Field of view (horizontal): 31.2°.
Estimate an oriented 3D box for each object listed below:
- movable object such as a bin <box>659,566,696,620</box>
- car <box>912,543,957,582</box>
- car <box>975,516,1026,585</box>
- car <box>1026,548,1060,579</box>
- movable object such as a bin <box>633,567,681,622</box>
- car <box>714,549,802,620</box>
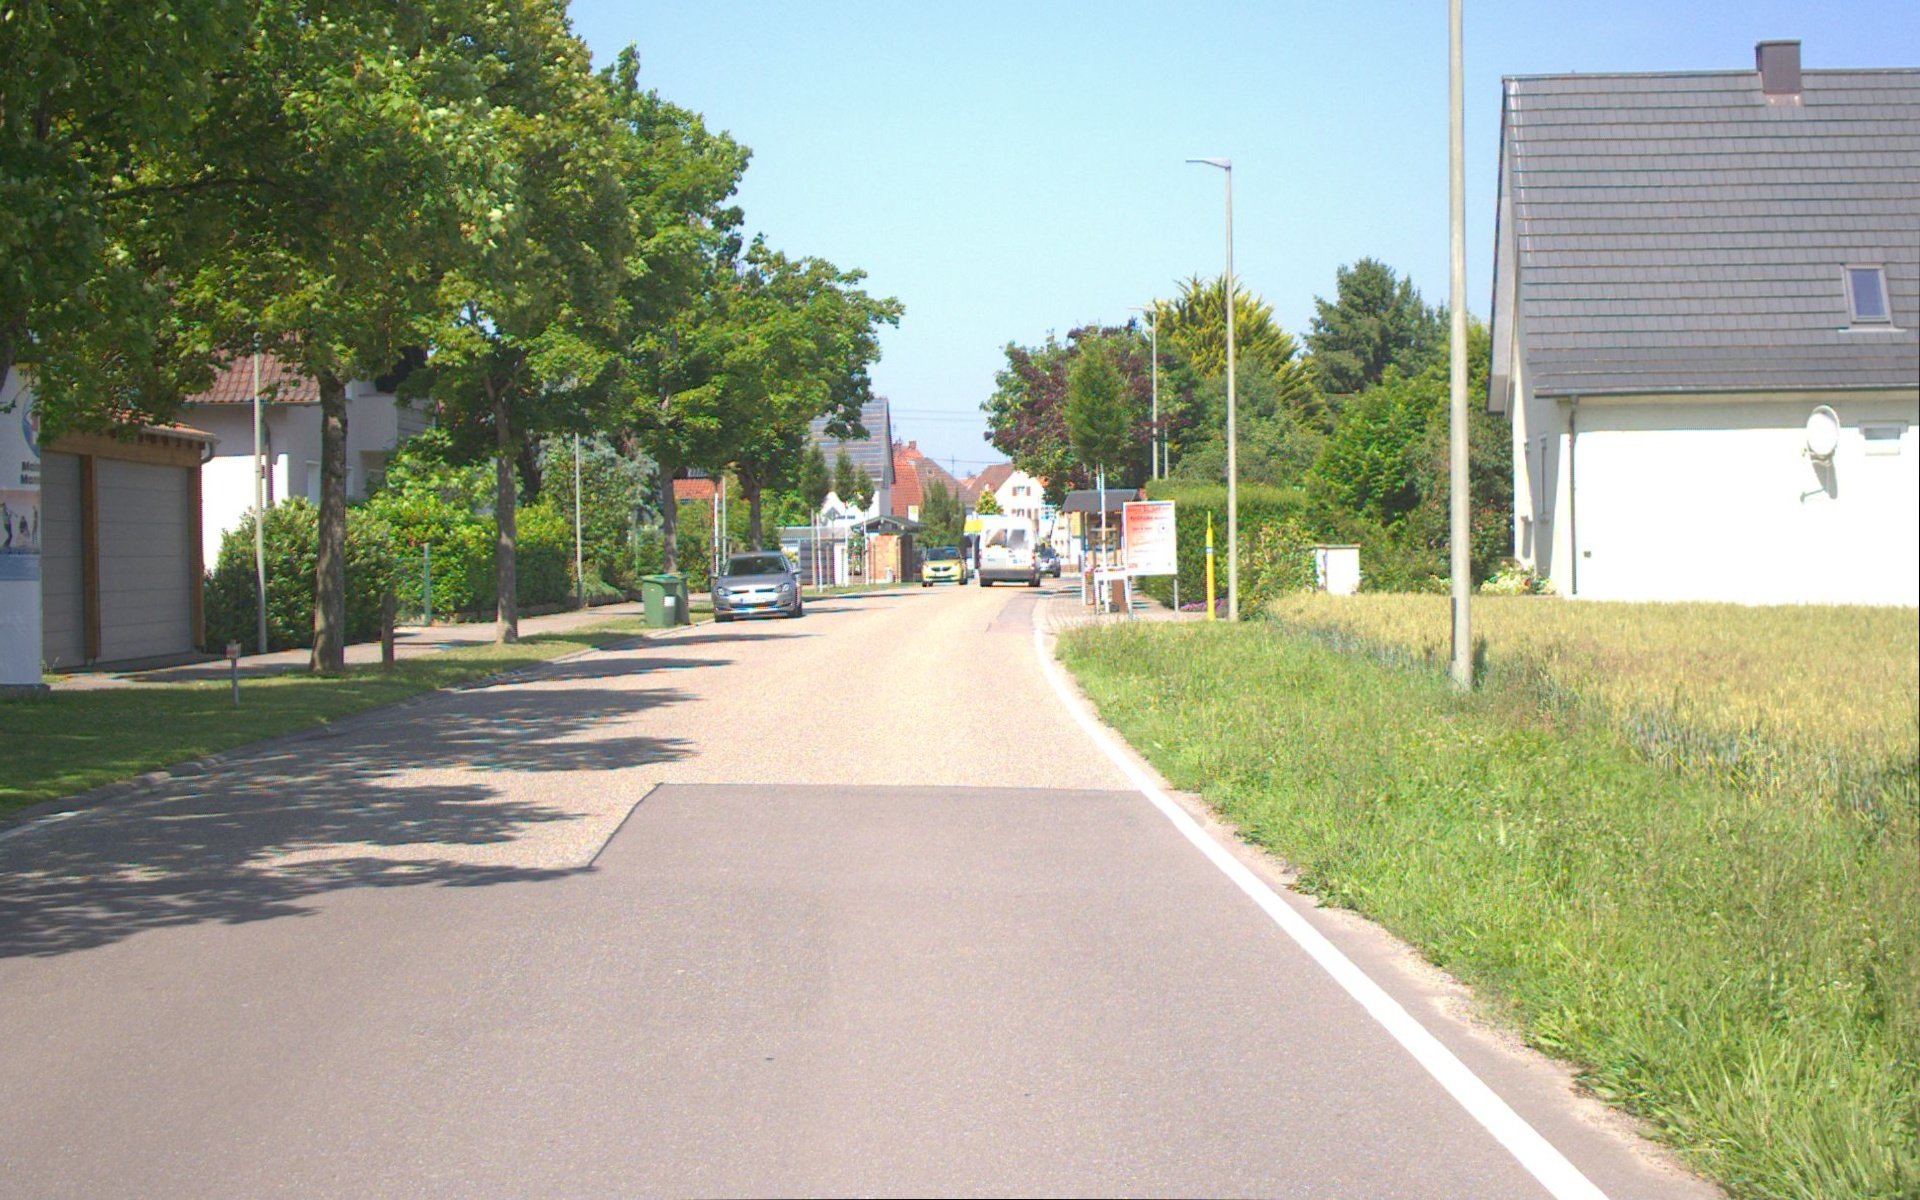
[{"bbox_3d":[-5.700,-0.147,69.394,0.575,1.075,0.598,-1,1,14],"label":"movable object such as a bin"},{"bbox_3d":[-1.048,-1.524,138.977,1.666,1.519,3.443,-2,1,-2],"label":"car"},{"bbox_3d":[1.483,-1.784,123.603,1.738,2.424,4.374,-1,1,1],"label":"car"},{"bbox_3d":[4.912,-2.151,202.823,1.835,1.747,3.796,-1,1,-1],"label":"car"},{"bbox_3d":[-6.059,-0.106,68.682,0.714,1.075,0.639,-1,1,26],"label":"movable object such as a bin"},{"bbox_3d":[-4.318,-0.352,74.054,1.647,1.419,4.080,-3,1,-1],"label":"car"}]
